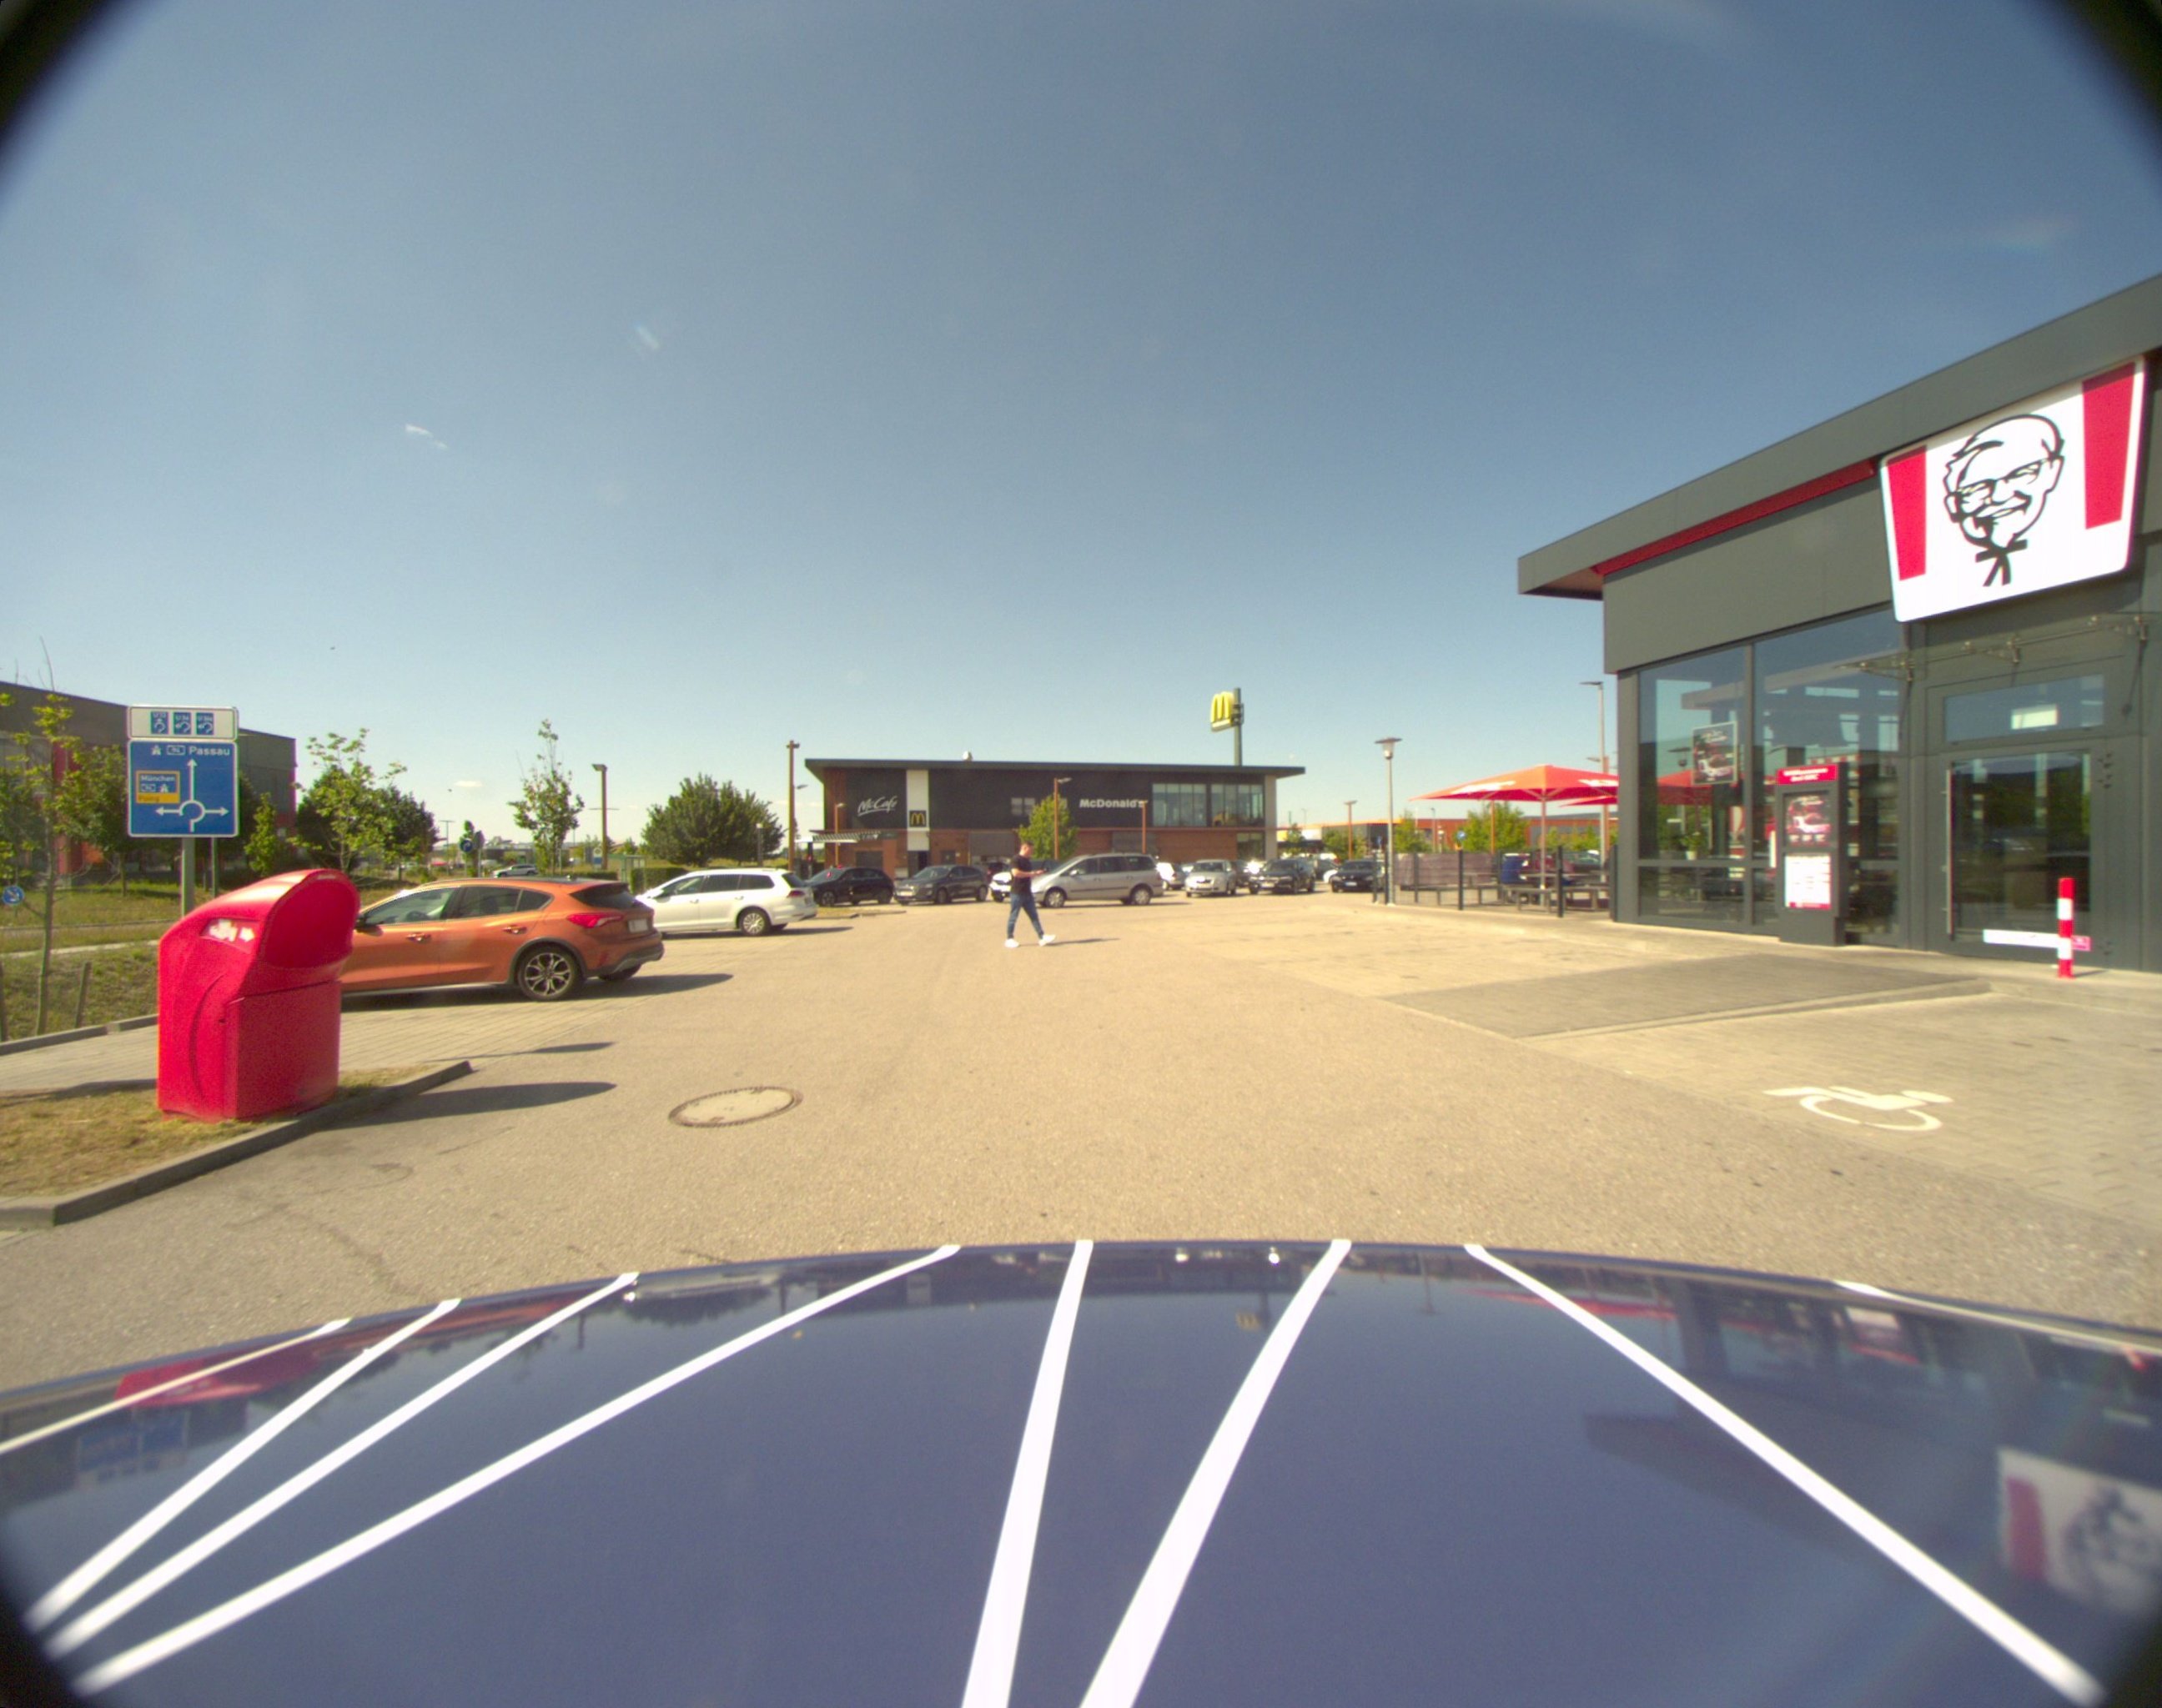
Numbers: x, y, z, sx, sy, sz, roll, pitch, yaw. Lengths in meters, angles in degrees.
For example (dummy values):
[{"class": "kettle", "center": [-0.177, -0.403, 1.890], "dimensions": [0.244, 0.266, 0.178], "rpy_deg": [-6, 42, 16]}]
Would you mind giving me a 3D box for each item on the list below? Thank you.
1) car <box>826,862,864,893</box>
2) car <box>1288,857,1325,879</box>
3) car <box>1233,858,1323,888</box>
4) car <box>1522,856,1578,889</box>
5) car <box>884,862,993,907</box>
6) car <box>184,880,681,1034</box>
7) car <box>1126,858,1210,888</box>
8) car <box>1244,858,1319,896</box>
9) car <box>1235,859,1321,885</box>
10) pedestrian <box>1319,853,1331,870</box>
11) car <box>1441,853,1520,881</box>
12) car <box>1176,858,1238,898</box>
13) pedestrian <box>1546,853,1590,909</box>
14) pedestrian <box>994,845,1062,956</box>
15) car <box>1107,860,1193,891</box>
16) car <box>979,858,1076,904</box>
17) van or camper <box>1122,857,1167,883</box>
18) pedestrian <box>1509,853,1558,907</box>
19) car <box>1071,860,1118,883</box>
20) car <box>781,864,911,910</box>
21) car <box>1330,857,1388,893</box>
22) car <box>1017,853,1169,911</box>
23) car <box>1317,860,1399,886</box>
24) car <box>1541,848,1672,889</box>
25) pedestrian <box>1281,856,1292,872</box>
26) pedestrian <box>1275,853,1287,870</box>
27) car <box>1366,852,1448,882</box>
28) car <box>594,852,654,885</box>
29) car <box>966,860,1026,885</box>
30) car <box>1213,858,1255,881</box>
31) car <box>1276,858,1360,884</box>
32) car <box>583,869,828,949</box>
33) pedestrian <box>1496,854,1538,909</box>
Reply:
[{"class": "car", "center": [-13.785, 1.324, 44.329], "dimensions": [1.999, 1.681, 4.229], "rpy_deg": [0, 0, -18]}, {"class": "car", "center": [16.870, 1.020, 56.642], "dimensions": [1.712, 1.603, 4.044], "rpy_deg": [-1, -1, 30]}, {"class": "car", "center": [10.449, 1.001, 40.335], "dimensions": [4.268, 1.478, 1.817], "rpy_deg": [-1, 0, 32]}, {"class": "car", "center": [21.809, 0.831, 35.439], "dimensions": [1.970, 1.451, 4.215], "rpy_deg": [-1, -1, 29]}, {"class": "car", "center": [-5.240, 1.094, 28.497], "dimensions": [1.971, 1.517, 4.214], "rpy_deg": [-1, -1, 23]}, {"class": "car", "center": [-7.665, 1.161, 9.438], "dimensions": [4.352, 1.460, 1.832], "rpy_deg": [-2, 0, -7]}, {"class": "car", "center": [4.709, 1.043, 41.373], "dimensions": [4.103, 1.506, 1.817], "rpy_deg": [-1, 0, 32]}, {"class": "car", "center": [8.570, 0.925, 32.145], "dimensions": [1.970, 1.477, 4.793], "rpy_deg": [-1, -1, 29]}, {"class": "car", "center": [11.912, 1.096, 45.949], "dimensions": [4.632, 1.478, 1.899], "rpy_deg": [-1, 0, 32]}, {"class": "pedestrian", "center": [22.409, 0.714, 69.774], "dimensions": [0.702, 1.550, 0.721], "rpy_deg": [-1, 0, -13]}, {"class": "car", "center": [23.365, 0.767, 44.486], "dimensions": [3.989, 1.542, 1.758], "rpy_deg": [-1, -1, 29]}, {"class": "car", "center": [5.208, 0.949, 30.997], "dimensions": [1.971, 1.517, 4.213], "rpy_deg": [-1, -1, 16]}, {"class": "pedestrian", "center": [11.344, 0.613, 17.704], "dimensions": [0.552, 1.266, 0.684], "rpy_deg": [-1, 0, -30]}, {"class": "pedestrian", "center": [-0.886, 0.771, 12.938], "dimensions": [0.993, 1.798, 0.726], "rpy_deg": [-2, 0, 4]}, {"class": "car", "center": [3.543, 1.116, 39.316], "dimensions": [4.103, 1.484, 1.715], "rpy_deg": [-1, 0, 32]}, {"class": "car", "center": [-1.984, 0.994, 29.377], "dimensions": [1.971, 1.644, 4.214], "rpy_deg": [-1, -1, 24]}, {"class": "van or camper", "center": [4.543, 1.127, 53.829], "dimensions": [1.707, 1.764, 4.036], "rpy_deg": [-1, -1, 29]}, {"class": "pedestrian", "center": [11.011, 0.624, 18.498], "dimensions": [0.843, 1.266, 0.684], "rpy_deg": [-1, 0, -30]}, {"class": "car", "center": [0.952, 1.179, 52.622], "dimensions": [1.710, 1.506, 3.957], "rpy_deg": [-1, 0, 26]}, {"class": "car", "center": [-8.514, 1.149, 27.909], "dimensions": [1.970, 1.517, 4.342], "rpy_deg": [0, 0, 31]}, {"class": "car", "center": [12.054, 0.858, 32.761], "dimensions": [1.832, 1.451, 4.379], "rpy_deg": [-1, -1, 27]}, {"class": "car", "center": [0.360, 0.874, 25.091], "dimensions": [4.685, 1.738, 1.831], "rpy_deg": [-1, 0, -14]}, {"class": "car", "center": [15.754, 1.081, 43.256], "dimensions": [4.103, 1.405, 1.817], "rpy_deg": [-1, 0, 32]}, {"class": "car", "center": [21.314, 0.583, 31.004], "dimensions": [4.291, 1.581, 1.861], "rpy_deg": [-1, 0, 33]}, {"class": "pedestrian", "center": [19.569, 0.930, 72.272], "dimensions": [0.723, 1.550, 0.700], "rpy_deg": [-1, 0, -42]}, {"class": "pedestrian", "center": [18.375, 0.662, 69.810], "dimensions": [0.723, 1.550, 0.700], "rpy_deg": [-1, 0, -42]}, {"class": "car", "center": [18.942, 0.778, 44.176], "dimensions": [4.103, 1.664, 1.817], "rpy_deg": [-1, 0, 32]}, {"class": "car", "center": [-31.292, 0.993, 52.243], "dimensions": [2.001, 2.184, 5.101], "rpy_deg": [-1, -1, -13]}, {"class": "car", "center": [-5.686, 1.253, 51.428], "dimensions": [1.957, 1.593, 4.476], "rpy_deg": [-1, -1, 26]}, {"class": "car", "center": [11.164, 1.088, 55.170], "dimensions": [1.712, 1.603, 4.044], "rpy_deg": [-1, -1, 30]}, {"class": "car", "center": [14.706, 1.072, 47.295], "dimensions": [4.632, 1.478, 1.899], "rpy_deg": [-1, 0, 32]}, {"class": "car", "center": [-8.189, 1.165, 16.943], "dimensions": [4.481, 1.460, 1.832], "rpy_deg": [-2, 0, -7]}, {"class": "pedestrian", "center": [10.341, 0.638, 18.020], "dimensions": [0.625, 1.266, 0.612], "rpy_deg": [-1, 0, -30]}]
